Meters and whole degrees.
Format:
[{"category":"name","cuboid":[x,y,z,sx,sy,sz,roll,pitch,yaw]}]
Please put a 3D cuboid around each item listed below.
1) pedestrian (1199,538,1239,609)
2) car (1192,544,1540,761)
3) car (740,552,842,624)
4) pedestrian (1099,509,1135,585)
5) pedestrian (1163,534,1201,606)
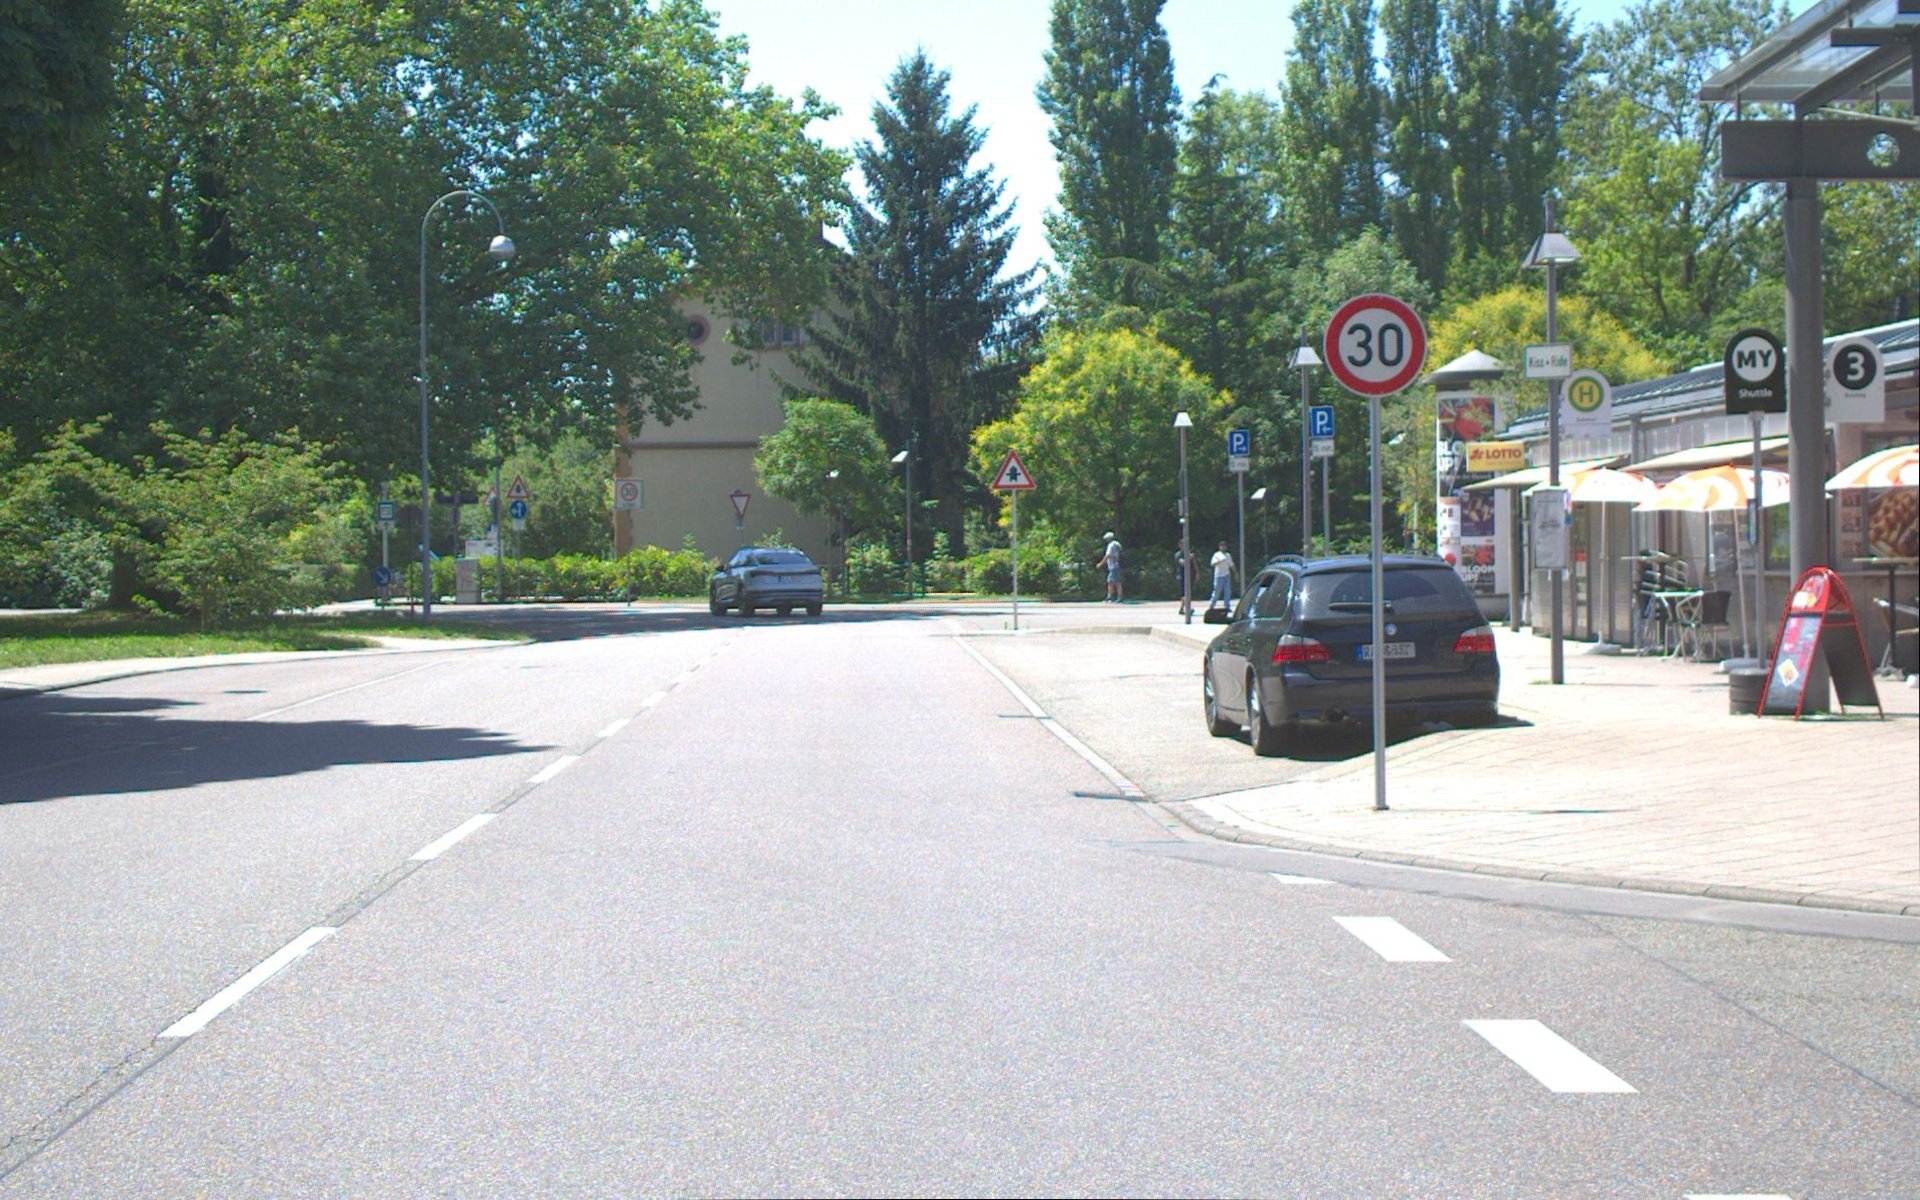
[{"category":"pedestrian","cuboid":[6.123,-0.624,81.250,0.721,1.644,0.750,0,-1,26]},{"category":"car","cuboid":[3.088,0.347,27.138,1.926,1.455,4.725,-3,1,-2]},{"category":"car","cuboid":[-4.027,-0.321,82.699,1.983,1.621,4.778,-1,1,3]},{"category":"pedestrian","cuboid":[4.039,-1.364,88.402,0.854,1.959,0.806,0,1,7]},{"category":"pedestrian","cuboid":[5.157,-0.693,79.832,0.636,1.644,0.750,0,-1,26]}]
